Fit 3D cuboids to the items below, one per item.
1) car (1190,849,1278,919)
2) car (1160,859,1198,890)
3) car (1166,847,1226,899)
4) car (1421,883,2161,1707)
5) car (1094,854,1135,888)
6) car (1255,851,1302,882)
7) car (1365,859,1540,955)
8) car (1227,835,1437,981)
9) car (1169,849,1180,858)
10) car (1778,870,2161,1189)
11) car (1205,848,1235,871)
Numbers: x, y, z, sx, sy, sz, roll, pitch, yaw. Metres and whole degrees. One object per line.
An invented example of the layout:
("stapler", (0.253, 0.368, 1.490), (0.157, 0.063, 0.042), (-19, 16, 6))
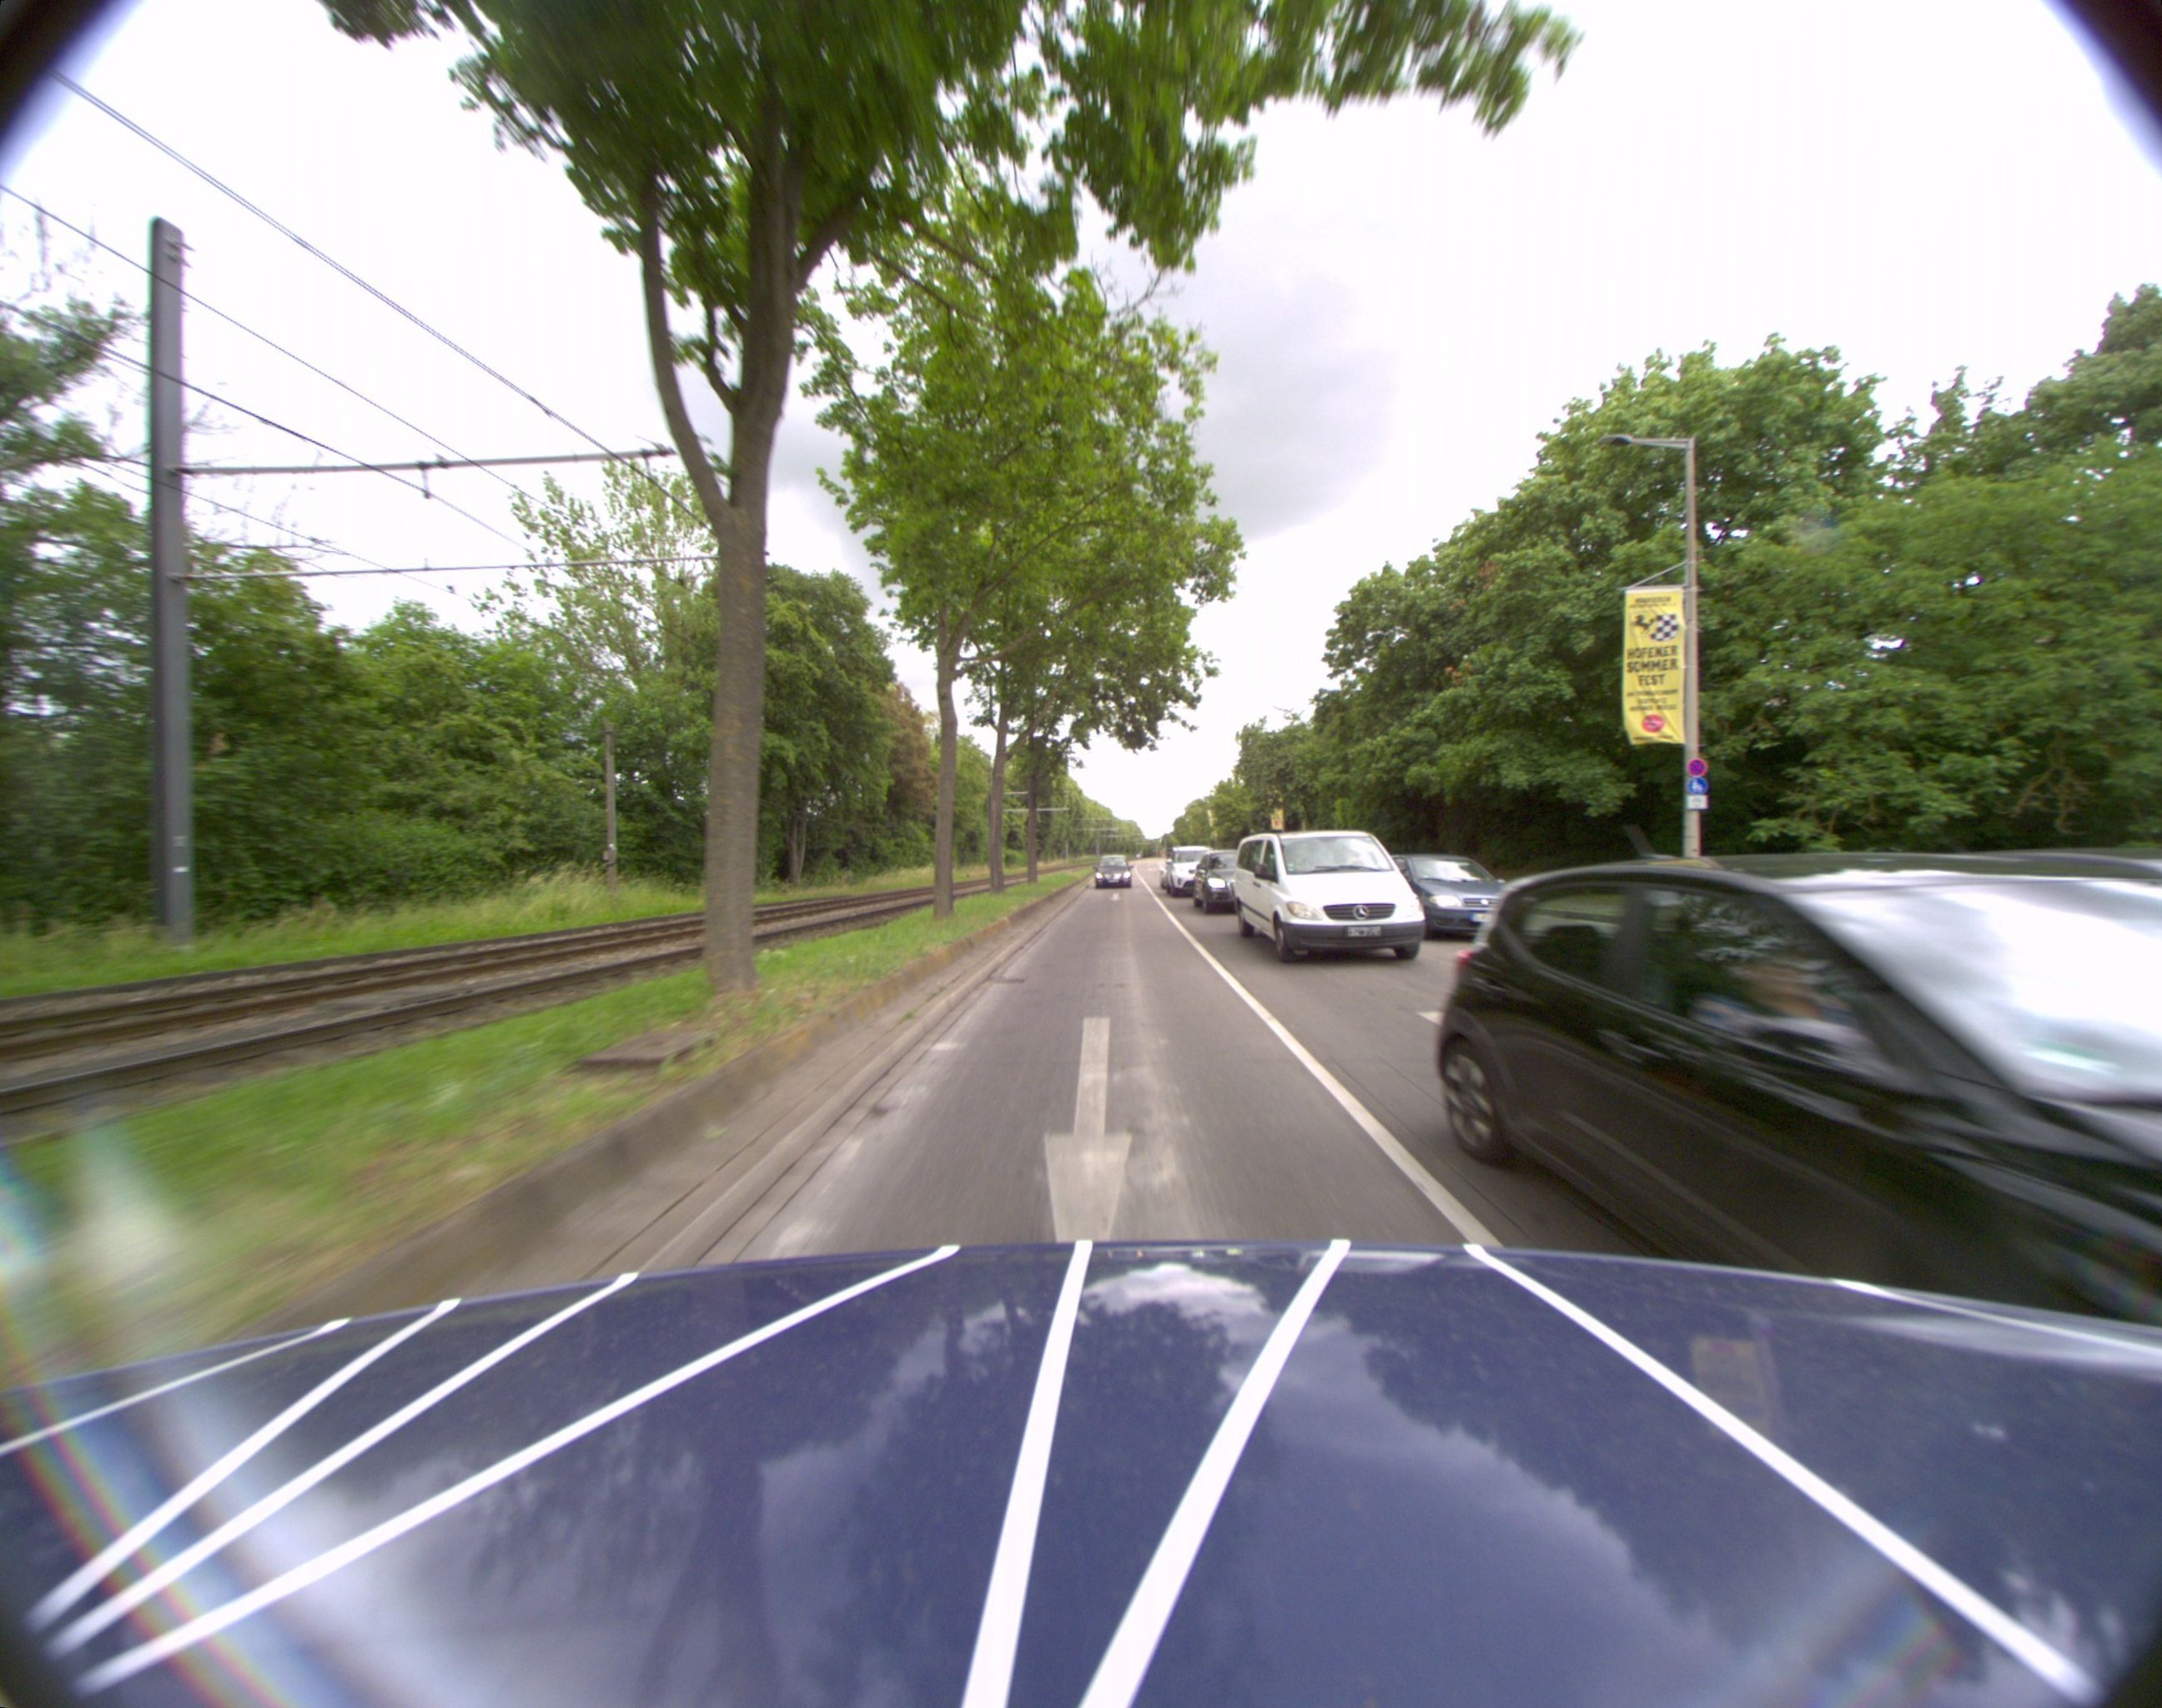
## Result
("car", (4.092, 0.754, 20.932), (1.755, 1.708, 4.335), (-1, 0, 3))
("car", (4.556, 0.938, 35.699), (1.558, 1.259, 3.823), (-1, 1, 4))
("car", (4.288, 0.650, 28.954), (1.807, 1.784, 4.504), (-2, 1, 4))
("car", (2.592, 0.909, 2.184), (1.707, 1.472, 3.668), (-1, 0, 3))
("car", (1.742, 0.817, 38.111), (1.807, 1.520, 3.930), (-2, 1, 5))
("car", (10.607, 0.633, 41.093), (1.743, 1.530, 3.911), (-2, 0, 5))
("car", (6.645, 0.854, 14.066), (1.595, 1.459, 3.930), (1, 0, 5))
("car", (3.710, 0.685, 12.343), (1.911, 1.832, 5.282), (-1, 0, 3))
("car", (19.810, -0.164, 161.283), (1.807, 1.893, 4.689), (1, 0, 3))
("car", (5.938, 0.860, 3.801), (1.559, 1.458, 3.808), (-1, 0, 3))
("car", (11.319, 0.453, 62.119), (1.795, 1.821, 4.410), (0, 0, 3))
